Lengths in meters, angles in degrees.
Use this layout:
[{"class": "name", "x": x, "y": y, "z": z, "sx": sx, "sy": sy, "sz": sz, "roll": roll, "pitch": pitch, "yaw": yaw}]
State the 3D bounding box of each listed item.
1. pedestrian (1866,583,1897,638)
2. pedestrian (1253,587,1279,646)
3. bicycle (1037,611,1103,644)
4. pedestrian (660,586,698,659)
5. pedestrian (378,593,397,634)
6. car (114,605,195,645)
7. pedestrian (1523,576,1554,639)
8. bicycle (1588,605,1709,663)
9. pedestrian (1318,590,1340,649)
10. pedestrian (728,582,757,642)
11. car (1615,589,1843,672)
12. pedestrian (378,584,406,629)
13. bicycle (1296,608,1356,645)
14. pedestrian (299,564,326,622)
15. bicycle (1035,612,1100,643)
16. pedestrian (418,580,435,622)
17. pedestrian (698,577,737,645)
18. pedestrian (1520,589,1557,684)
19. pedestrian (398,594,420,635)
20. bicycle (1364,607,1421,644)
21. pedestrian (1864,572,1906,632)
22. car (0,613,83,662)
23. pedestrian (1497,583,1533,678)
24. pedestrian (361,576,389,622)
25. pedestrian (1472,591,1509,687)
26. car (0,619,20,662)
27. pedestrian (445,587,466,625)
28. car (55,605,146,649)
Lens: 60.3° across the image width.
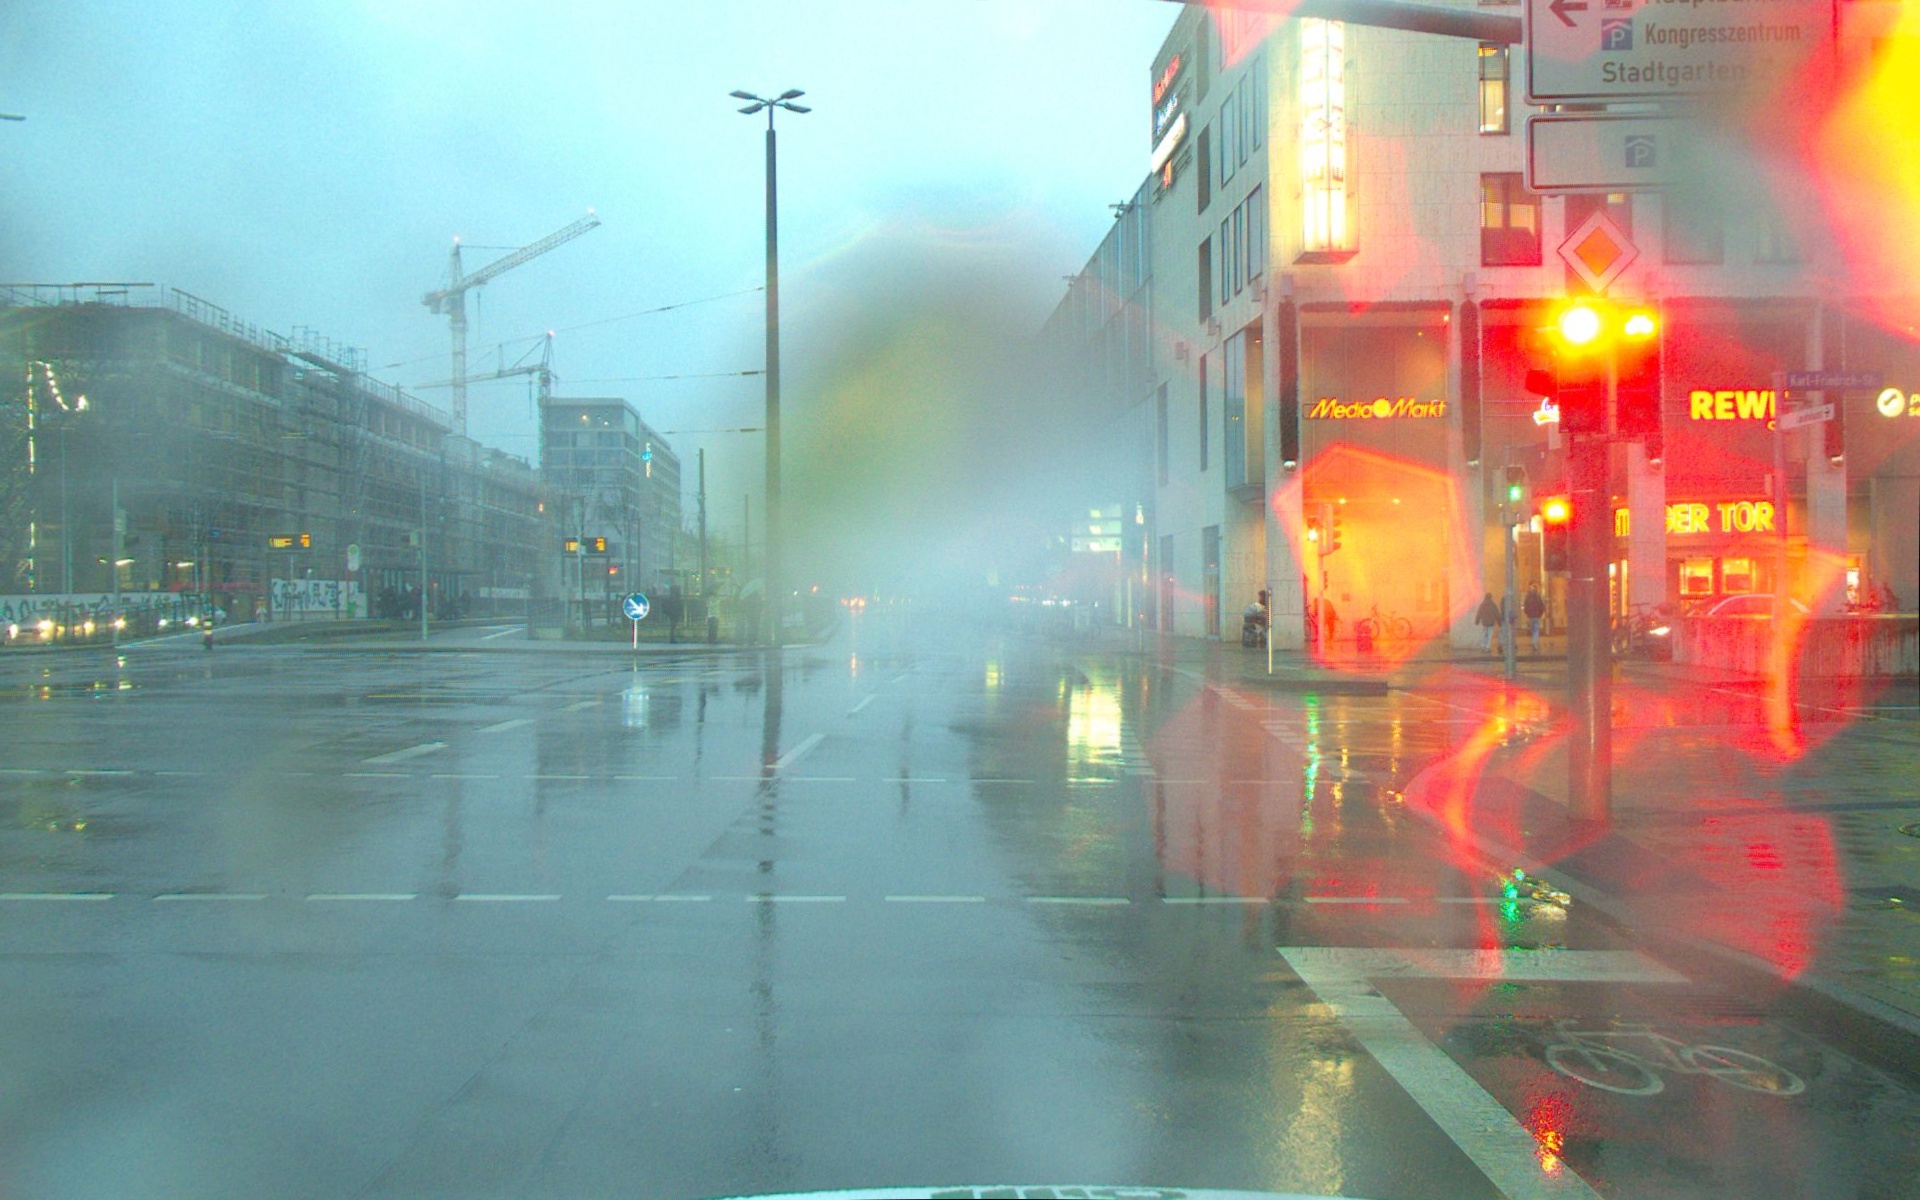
[{"class": "pedestrian", "x": 25.894, "y": 0.298, "z": 46.484, "sx": 0.573, "sy": 1.520, "sz": 0.519, "roll": 0, "pitch": -1, "yaw": 2}, {"class": "pedestrian", "x": 9.129, "y": 0.486, "z": 49.373, "sx": 0.624, "sy": 1.739, "sz": 0.573, "roll": -1, "pitch": 0, "yaw": -2}, {"class": "bicycle", "x": 4.089, "y": 1.028, "z": 61.661, "sx": 2.393, "sy": 1.174, "sz": 0.674, "roll": -1, "pitch": -1, "yaw": -2}, {"class": "pedestrian", "x": -8.038, "y": 0.644, "z": 47.254, "sx": 0.771, "sy": 2.049, "sz": 0.724, "roll": 0, "pitch": -1, "yaw": 41}, {"class": "pedestrian", "x": -26.564, "y": 0.619, "z": 76.757, "sx": 0.684, "sy": 1.913, "sz": 0.553, "roll": 1, "pitch": -1, "yaw": -2}, {"class": "car", "x": -38.187, "y": 1.180, "z": 78.511, "sx": 1.953, "sy": 1.822, "sz": 3.999, "roll": 1, "pitch": 0, "yaw": -1}, {"class": "pedestrian", "x": 19.081, "y": 0.240, "z": 54.543, "sx": 0.828, "sy": 2.049, "sz": 0.698, "roll": -1, "pitch": 0, "yaw": 8}, {"class": "bicycle", "x": 17.197, "y": 0.843, "z": 41.346, "sx": 2.659, "sy": 1.383, "sz": 0.957, "roll": -1, "pitch": -1, "yaw": -4}, {"class": "pedestrian", "x": 11.222, "y": 0.587, "z": 50.277, "sx": 0.587, "sy": 1.775, "sz": 0.525, "roll": 1, "pitch": -1, "yaw": 7}, {"class": "pedestrian", "x": -6.302, "y": 0.335, "z": 47.913, "sx": 0.601, "sy": 1.715, "sz": 0.575, "roll": 0, "pitch": -1, "yaw": 41}, {"class": "car", "x": 16.221, "y": 0.626, "z": 35.039, "sx": 3.905, "sy": 1.646, "sz": 2.000, "roll": 1, "pitch": 0, "yaw": 0}, {"class": "pedestrian", "x": -26.696, "y": 0.304, "z": 77.708, "sx": 0.923, "sy": 2.049, "sz": 1.093, "roll": 1, "pitch": -1, "yaw": -3}, {"class": "bicycle", "x": 11.245, "y": 0.820, "z": 50.837, "sx": 1.734, "sy": 1.088, "sz": 0.523, "roll": 1, "pitch": -1, "yaw": -9}, {"class": "pedestrian", "x": -26.773, "y": -0.274, "z": 68.387, "sx": 0.750, "sy": 2.364, "sz": 0.762, "roll": 1, "pitch": -2, "yaw": -1}, {"class": "bicycle", "x": 4.037, "y": 1.038, "z": 62.426, "sx": 2.376, "sy": 1.118, "sz": 0.711, "roll": -1, "pitch": -1, "yaw": -3}, {"class": "pedestrian", "x": -25.937, "y": 0.058, "z": 80.407, "sx": 0.559, "sy": 2.002, "sz": 0.664, "roll": 2, "pitch": -1, "yaw": -7}, {"class": "pedestrian", "x": -6.810, "y": 0.309, "z": 46.399, "sx": 0.813, "sy": 1.863, "sz": 0.777, "roll": 1, "pitch": -1, "yaw": -31}, {"class": "pedestrian", "x": 15.499, "y": 0.971, "z": 44.329, "sx": 0.679, "sy": 2.491, "sz": 0.791, "roll": 1, "pitch": -1, "yaw": -1}, {"class": "pedestrian", "x": -26.324, "y": 0.692, "z": 79.044, "sx": 0.750, "sy": 1.931, "sz": 0.762, "roll": 1, "pitch": -2, "yaw": -1}, {"class": "bicycle", "x": 13.332, "y": 0.787, "z": 51.009, "sx": 1.614, "sy": 1.088, "sz": 0.524, "roll": 1, "pitch": -1, "yaw": -5}, {"class": "pedestrian", "x": 26.866, "y": 0.063, "z": 48.036, "sx": 0.875, "sy": 1.714, "sz": 0.528, "roll": -1, "pitch": -1, "yaw": -1}, {"class": "car", "x": -37.223, "y": 1.479, "z": 66.832, "sx": 1.830, "sy": 1.860, "sz": 3.993, "roll": 1, "pitch": 0, "yaw": -8}, {"class": "pedestrian", "x": 14.729, "y": 0.809, "z": 43.891, "sx": 0.675, "sy": 2.484, "sz": 0.758, "roll": 1, "pitch": -1, "yaw": -1}, {"class": "pedestrian", "x": -26.756, "y": -0.033, "z": 75.635, "sx": 0.923, "sy": 2.049, "sz": 1.093, "roll": 1, "pitch": -1, "yaw": -4}, {"class": "pedestrian", "x": 13.988, "y": 1.026, "z": 43.644, "sx": 0.700, "sy": 2.484, "sz": 0.758, "roll": 1, "pitch": -1, "yaw": -1}, {"class": "car", "x": -36.412, "y": 1.521, "z": 60.527, "sx": 2.038, "sy": 1.557, "sz": 4.604, "roll": -1, "pitch": 0, "yaw": -10}, {"class": "pedestrian", "x": -27.748, "y": 0.342, "z": 90.982, "sx": 0.924, "sy": 2.049, "sz": 1.092, "roll": 1, "pitch": -1, "yaw": -9}, {"class": "car", "x": -37.862, "y": 1.162, "z": 72.968, "sx": 1.953, "sy": 1.822, "sz": 3.999, "roll": 1, "pitch": 0, "yaw": -1}]
